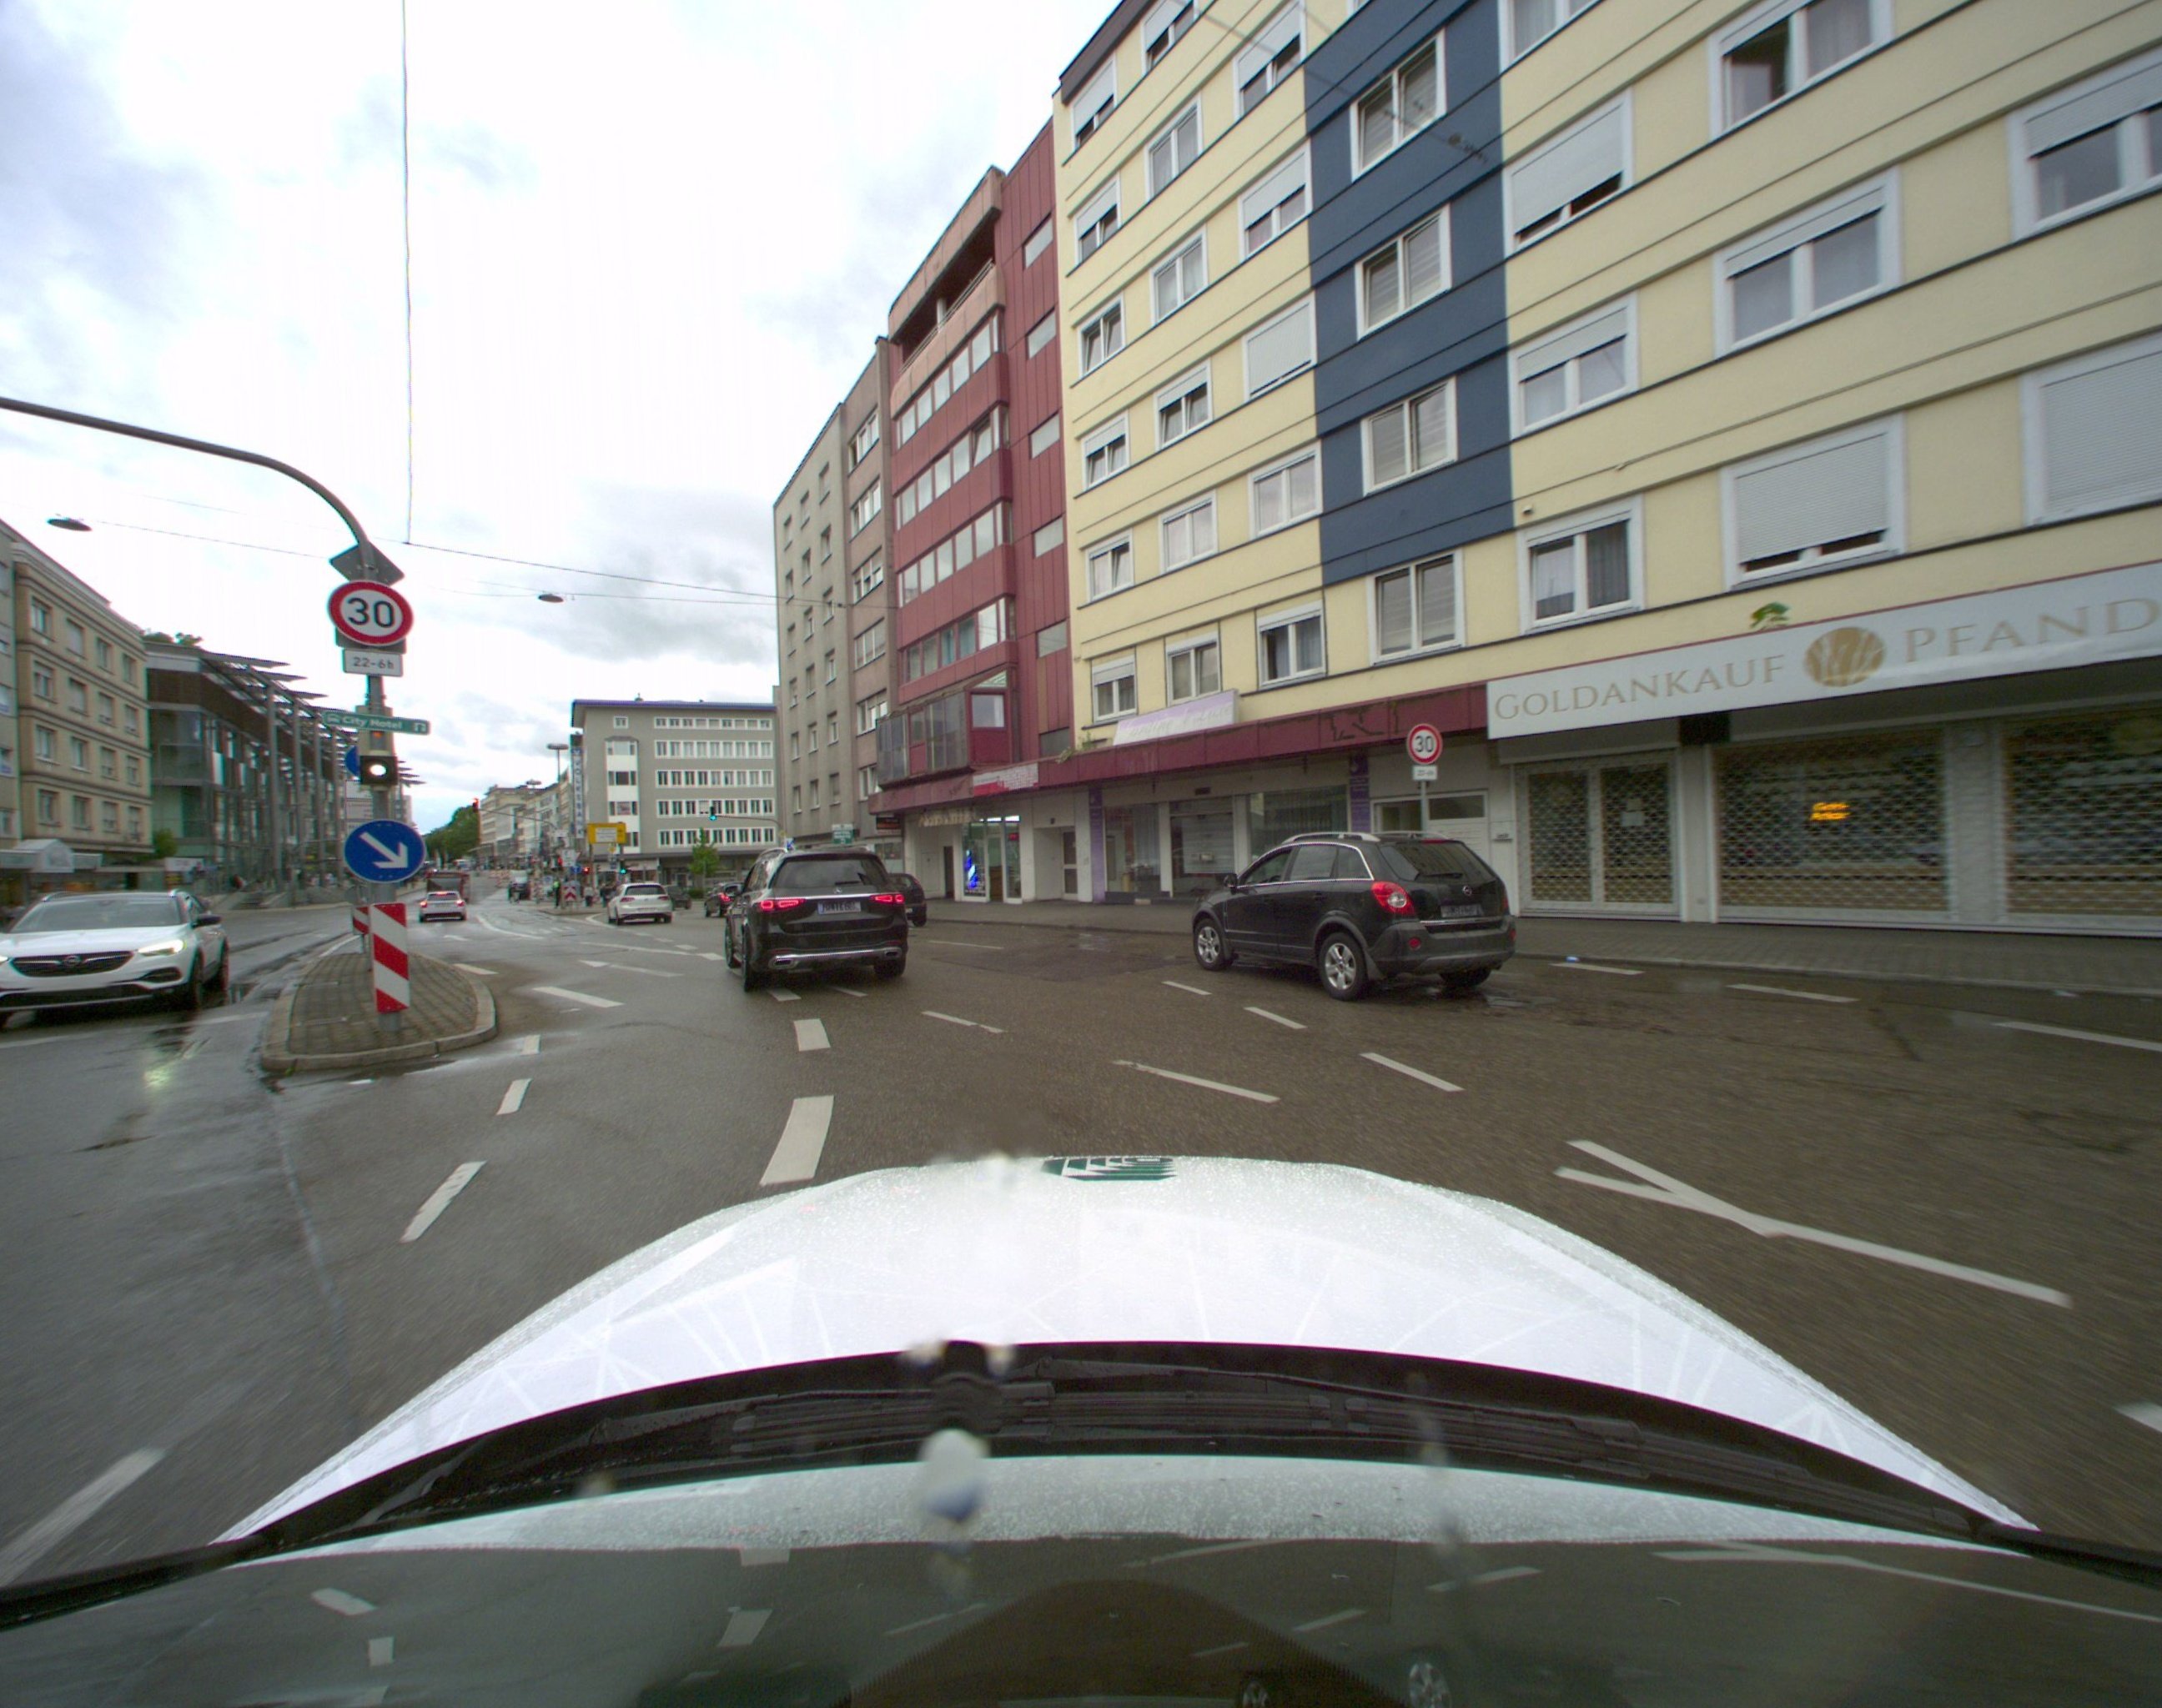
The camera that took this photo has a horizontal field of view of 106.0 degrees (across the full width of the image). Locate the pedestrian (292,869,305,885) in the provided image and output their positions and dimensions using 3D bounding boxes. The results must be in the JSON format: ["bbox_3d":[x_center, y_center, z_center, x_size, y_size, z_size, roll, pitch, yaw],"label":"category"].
[{"bbox_3d":[-88.839,2.586,92.498,1.048,1.713,0.995,-1,-2,-42],"label":"pedestrian"}]

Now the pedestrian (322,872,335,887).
[{"bbox_3d":[-83.998,2.853,90.867,1.048,1.713,0.995,-1,-2,-42],"label":"pedestrian"}]

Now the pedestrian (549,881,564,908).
[{"bbox_3d":[-33.868,2.645,52.590,0.789,1.711,0.700,0,-3,-32],"label":"pedestrian"}]

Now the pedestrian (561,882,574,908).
[{"bbox_3d":[-34.373,2.771,54.531,0.761,1.692,0.686,0,-4,-32],"label":"pedestrian"}]

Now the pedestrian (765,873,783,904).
[{"bbox_3d":[-17.304,1.955,45.893,0.624,1.692,0.781,-5,-2,-1],"label":"pedestrian"}]

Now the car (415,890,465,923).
[{"bbox_3d":[-31.605,2.545,40.260,1.806,1.416,4.579,-2,-1,-37],"label":"car"}]

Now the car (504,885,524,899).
[{"bbox_3d":[-63.270,4.237,90.829,1.750,1.527,3.956,0,-2,-35],"label":"car"}]

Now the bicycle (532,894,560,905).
[{"bbox_3d":[-52.127,4.419,79.330,2.146,0.993,0.689,-2,-1,-23],"label":"bicycle"}]

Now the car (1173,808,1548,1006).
[{"bbox_3d":[2.979,0.493,9.766,1.914,1.785,4.270,-2,0,-21],"label":"car"}]

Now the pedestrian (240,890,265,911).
[{"bbox_3d":[-69.488,3.882,68.304,1.038,1.713,1.004,-2,-1,-9],"label":"pedestrian"}]

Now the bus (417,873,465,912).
[{"bbox_3d":[-61.292,3.681,78.318,2.943,3.321,18.272,-1,-2,-36],"label":"bus"}]

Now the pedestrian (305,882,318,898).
[{"bbox_3d":[-86.083,4.054,91.108,1.048,1.713,0.995,-1,-2,-42],"label":"pedestrian"}]

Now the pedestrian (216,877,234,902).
[{"bbox_3d":[-71.423,2.971,67.942,0.888,1.981,0.964,-1,-2,-37],"label":"pedestrian"}]

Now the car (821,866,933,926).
[{"bbox_3d":[-5.560,1.118,21.899,1.729,1.420,3.730,-1,-3,-34],"label":"car"}]

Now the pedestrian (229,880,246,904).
[{"bbox_3d":[-71.658,3.248,69.165,0.882,1.981,0.840,-1,-2,-37],"label":"pedestrian"}]

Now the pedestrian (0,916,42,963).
[{"bbox_3d":[-40.683,3.259,31.123,0.959,1.714,1.078,0,-1,-38],"label":"pedestrian"}]

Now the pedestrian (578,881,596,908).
[{"bbox_3d":[-32.068,2.621,52.865,0.984,1.672,0.906,0,-2,-31],"label":"pedestrian"}]

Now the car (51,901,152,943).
[{"bbox_3d":[-42.804,2.914,35.700,1.862,1.551,4.350,1,-2,-37],"label":"car"}]

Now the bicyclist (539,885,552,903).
[{"bbox_3d":[-52.160,3.931,79.337,0.848,1.704,0.618,-2,-1,-23],"label":"bicyclist"}]

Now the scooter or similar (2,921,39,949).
[{"bbox_3d":[-42.796,3.266,32.879,0.742,1.054,0.693,0,-1,-38],"label":"scooter or similar"}]

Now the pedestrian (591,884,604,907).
[{"bbox_3d":[-31.125,2.677,52.462,0.709,1.488,0.554,0,-3,-32],"label":"pedestrian"}]

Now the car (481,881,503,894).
[{"bbox_3d":[-83.217,4.754,115.067,2.442,1.780,5.096,0,-2,-37],"label":"car"}]

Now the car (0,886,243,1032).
[{"bbox_3d":[-13.165,1.264,11.150,2.011,1.552,4.375,0,-1,-41],"label":"car"}]

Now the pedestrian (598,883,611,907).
[{"bbox_3d":[-31.751,2.710,54.278,0.718,1.568,0.846,0,-3,-32],"label":"pedestrian"}]

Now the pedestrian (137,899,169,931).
[{"bbox_3d":[-49.957,3.271,43.865,0.767,1.628,0.848,-2,-2,10],"label":"pedestrian"}]

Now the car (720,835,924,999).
[{"bbox_3d":[-3.999,0.752,11.921,2.099,1.817,4.750,-2,0,-27],"label":"car"}]

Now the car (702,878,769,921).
[{"bbox_3d":[-14.393,1.816,33.786,1.963,1.574,3.959,0,0,-32],"label":"car"}]

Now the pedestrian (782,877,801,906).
[{"bbox_3d":[-17.151,2.204,48.279,0.739,1.635,0.597,-6,-3,5],"label":"pedestrian"}]

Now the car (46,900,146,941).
[{"bbox_3d":[-42.946,2.855,35.615,1.712,1.563,4.156,-1,-1,-35],"label":"car"}]

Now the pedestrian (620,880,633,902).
[{"bbox_3d":[-37.596,3.090,67.318,0.837,1.779,0.610,0,-2,-42],"label":"pedestrian"}]

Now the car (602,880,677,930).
[{"bbox_3d":[-16.086,1.797,29.586,1.964,1.574,3.957,0,0,-35],"label":"car"}]

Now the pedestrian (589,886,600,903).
[{"bbox_3d":[-38.856,3.215,65.065,0.635,1.339,0.581,0,-2,-42],"label":"pedestrian"}]

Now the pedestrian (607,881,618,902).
[{"bbox_3d":[-37.821,3.044,65.745,0.785,1.689,0.633,0,-2,-28],"label":"pedestrian"}]
